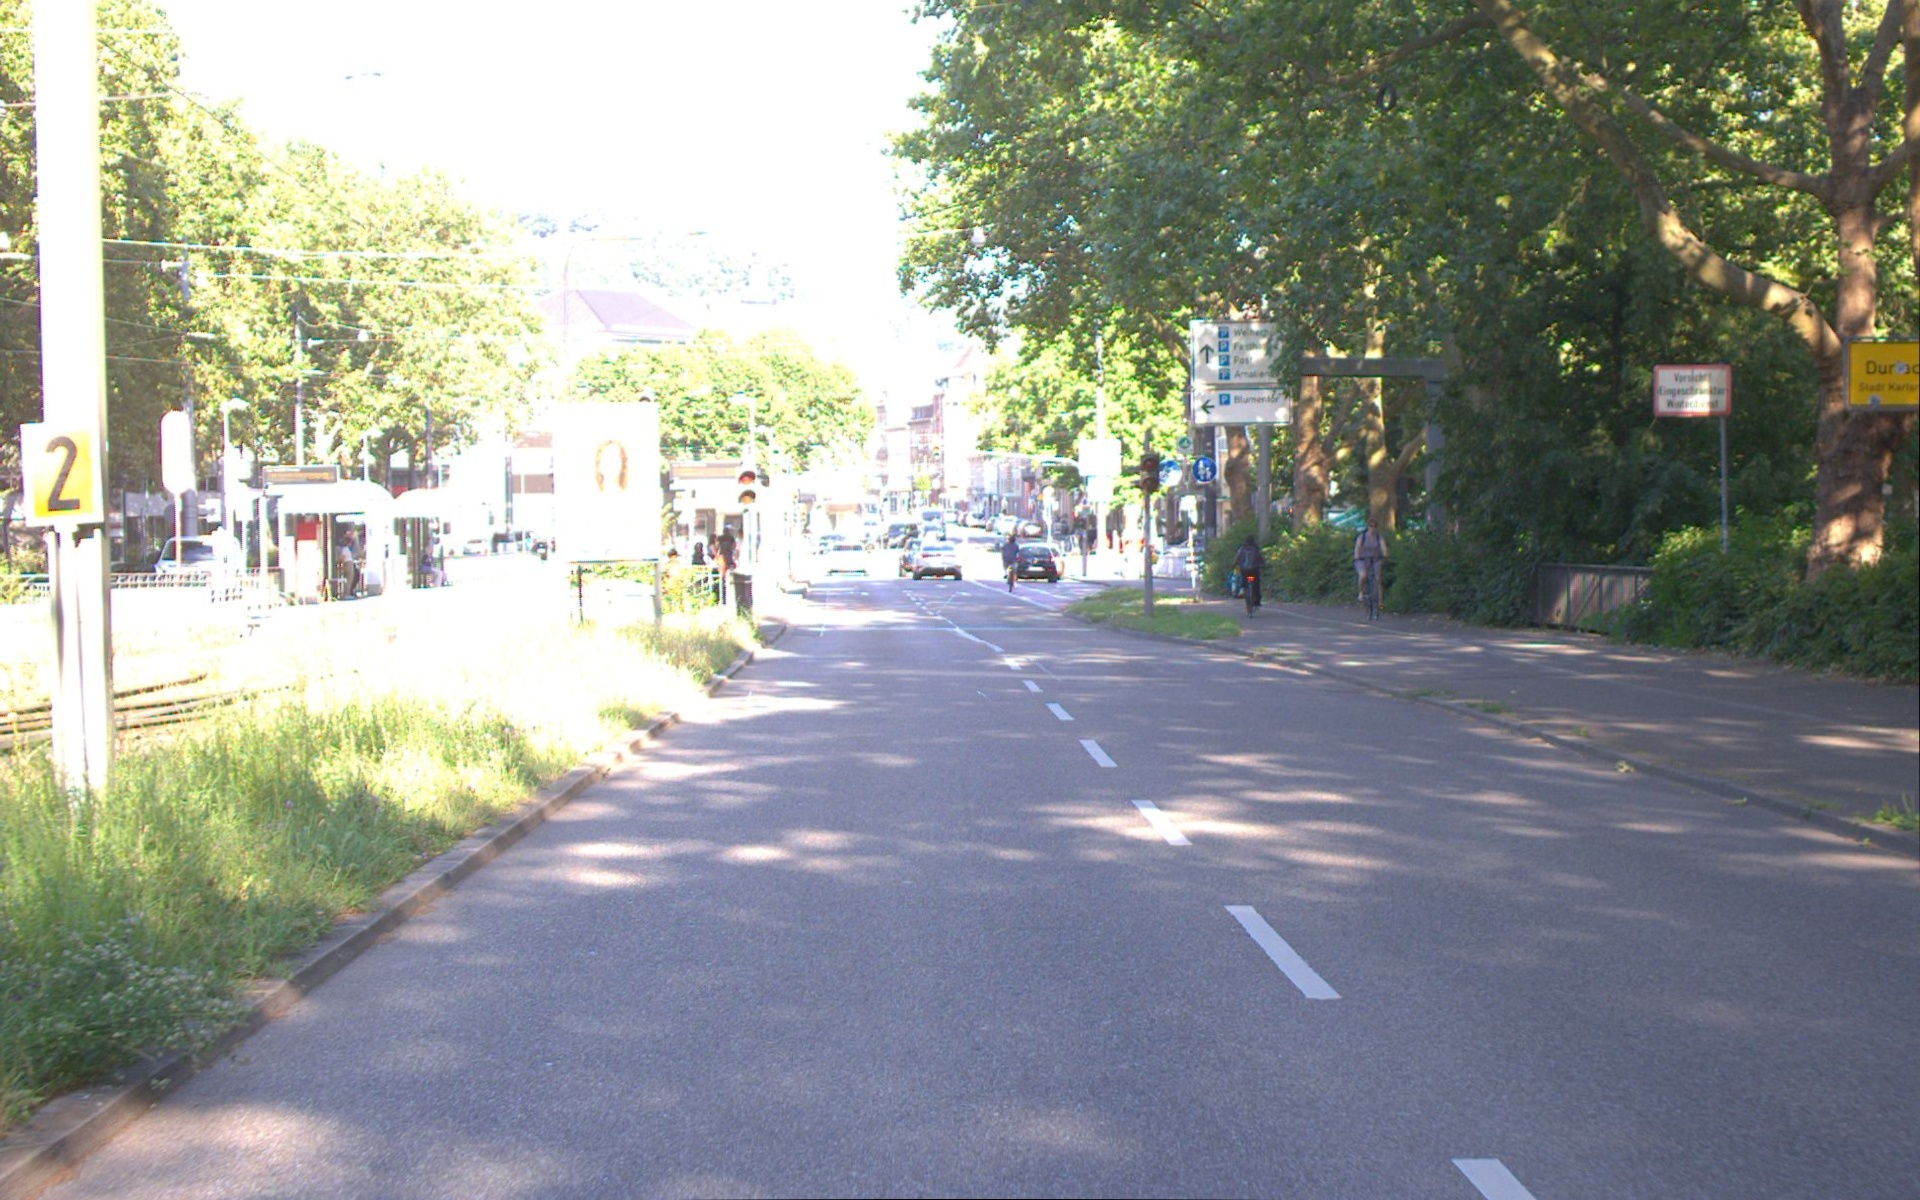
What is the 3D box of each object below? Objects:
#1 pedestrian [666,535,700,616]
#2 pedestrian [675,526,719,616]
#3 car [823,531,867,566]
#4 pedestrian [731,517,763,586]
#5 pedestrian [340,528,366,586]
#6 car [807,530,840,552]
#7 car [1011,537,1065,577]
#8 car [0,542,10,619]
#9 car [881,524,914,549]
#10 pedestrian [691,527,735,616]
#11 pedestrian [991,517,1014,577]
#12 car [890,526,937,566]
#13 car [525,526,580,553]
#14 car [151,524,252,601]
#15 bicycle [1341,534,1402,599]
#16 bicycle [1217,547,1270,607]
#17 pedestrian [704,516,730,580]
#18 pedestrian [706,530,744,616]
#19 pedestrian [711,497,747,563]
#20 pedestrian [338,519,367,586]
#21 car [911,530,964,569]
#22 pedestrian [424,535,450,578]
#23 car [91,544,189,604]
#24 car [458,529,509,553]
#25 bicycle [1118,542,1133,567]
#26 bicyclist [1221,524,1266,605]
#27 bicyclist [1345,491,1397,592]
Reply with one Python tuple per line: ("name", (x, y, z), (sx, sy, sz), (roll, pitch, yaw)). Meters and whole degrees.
("pedestrian", (-5.070, -0.454, 63.011), (0.520, 1.467, 0.514), (-3, 1, -1))
("pedestrian", (-4.688, -0.514, 61.206), (0.520, 1.563, 0.507), (-2, 1, 28))
("car", (-4.859, -2.193, 144.816), (1.808, 1.447, 4.001), (0, 1, -3))
("pedestrian", (-5.283, -1.193, 85.180), (0.742, 1.688, 0.791), (1, 1, -1))
("pedestrian", (-16.111, -1.146, 91.235), (0.592, 1.538, 0.627), (0, 0, -2))
("car", (-9.426, -4.063, 237.534), (1.794, 1.505, 3.999), (-1, 1, 5))
("car", (2.962, -1.651, 130.930), (1.800, 1.434, 4.046), (1, 1, -2))
("car", (-21.383, -0.374, 72.399), (1.902, 1.646, 3.974), (-2, 1, -5))
("car", (-4.580, -4.682, 253.173), (1.795, 1.820, 3.999), (0, 1, 8))
("pedestrian", (-4.422, -0.515, 61.620), (0.520, 1.563, 0.507), (-2, 1, 28))
("pedestrian", (1.330, -1.651, 107.115), (0.657, 1.864, 0.678), (-1, 1, -2))
("car", (-1.954, -2.252, 143.147), (1.800, 1.632, 4.046), (0, 1, -3))
("car", (-26.327, -3.919, 222.209), (1.923, 1.643, 4.177), (0, 1, 18))
("car", (-22.328, -1.110, 101.366), (2.067, 2.117, 5.091), (-2, 1, -4))
("bicycle", (7.131, -0.592, 59.620), (0.699, 1.104, 1.930), (-1, 1, -3))
("bicycle", (5.354, -0.447, 64.981), (0.766, 1.104, 1.800), (-1, 1, -3))
("pedestrian", (-6.016, -1.287, 85.040), (0.588, 1.561, 0.650), (1, 1, -1))
("pedestrian", (-4.257, -0.492, 62.205), (0.589, 1.514, 0.514), (-3, 1, -1))
("pedestrian", (-6.033, -1.832, 89.741), (0.651, 1.716, 0.710), (0, 1, -38))
("pedestrian", (-16.243, -1.266, 91.912), (0.648, 1.766, 0.650), (0, 0, 0))
("car", (-0.896, -2.007, 135.766), (1.929, 1.467, 4.855), (0, 1, -2))
("pedestrian", (-16.386, -1.364, 107.760), (0.669, 1.320, 0.757), (-3, 1, -4))
("car", (-22.046, -0.709, 92.552), (1.794, 1.505, 4.342), (-2, 1, -4))
("car", (-31.145, -3.876, 224.752), (1.795, 1.505, 4.007), (0, 1, 17))
("bicycle", (7.048, -1.940, 146.457), (0.498, 1.071, 1.800), (0, 0, -2))
("bicyclist", (5.357, -0.679, 64.924), (0.766, 1.507, 0.650), (-1, 1, -2))
("bicyclist", (7.129, -1.018, 59.615), (0.699, 1.722, 1.080), (-1, 1, -3))
